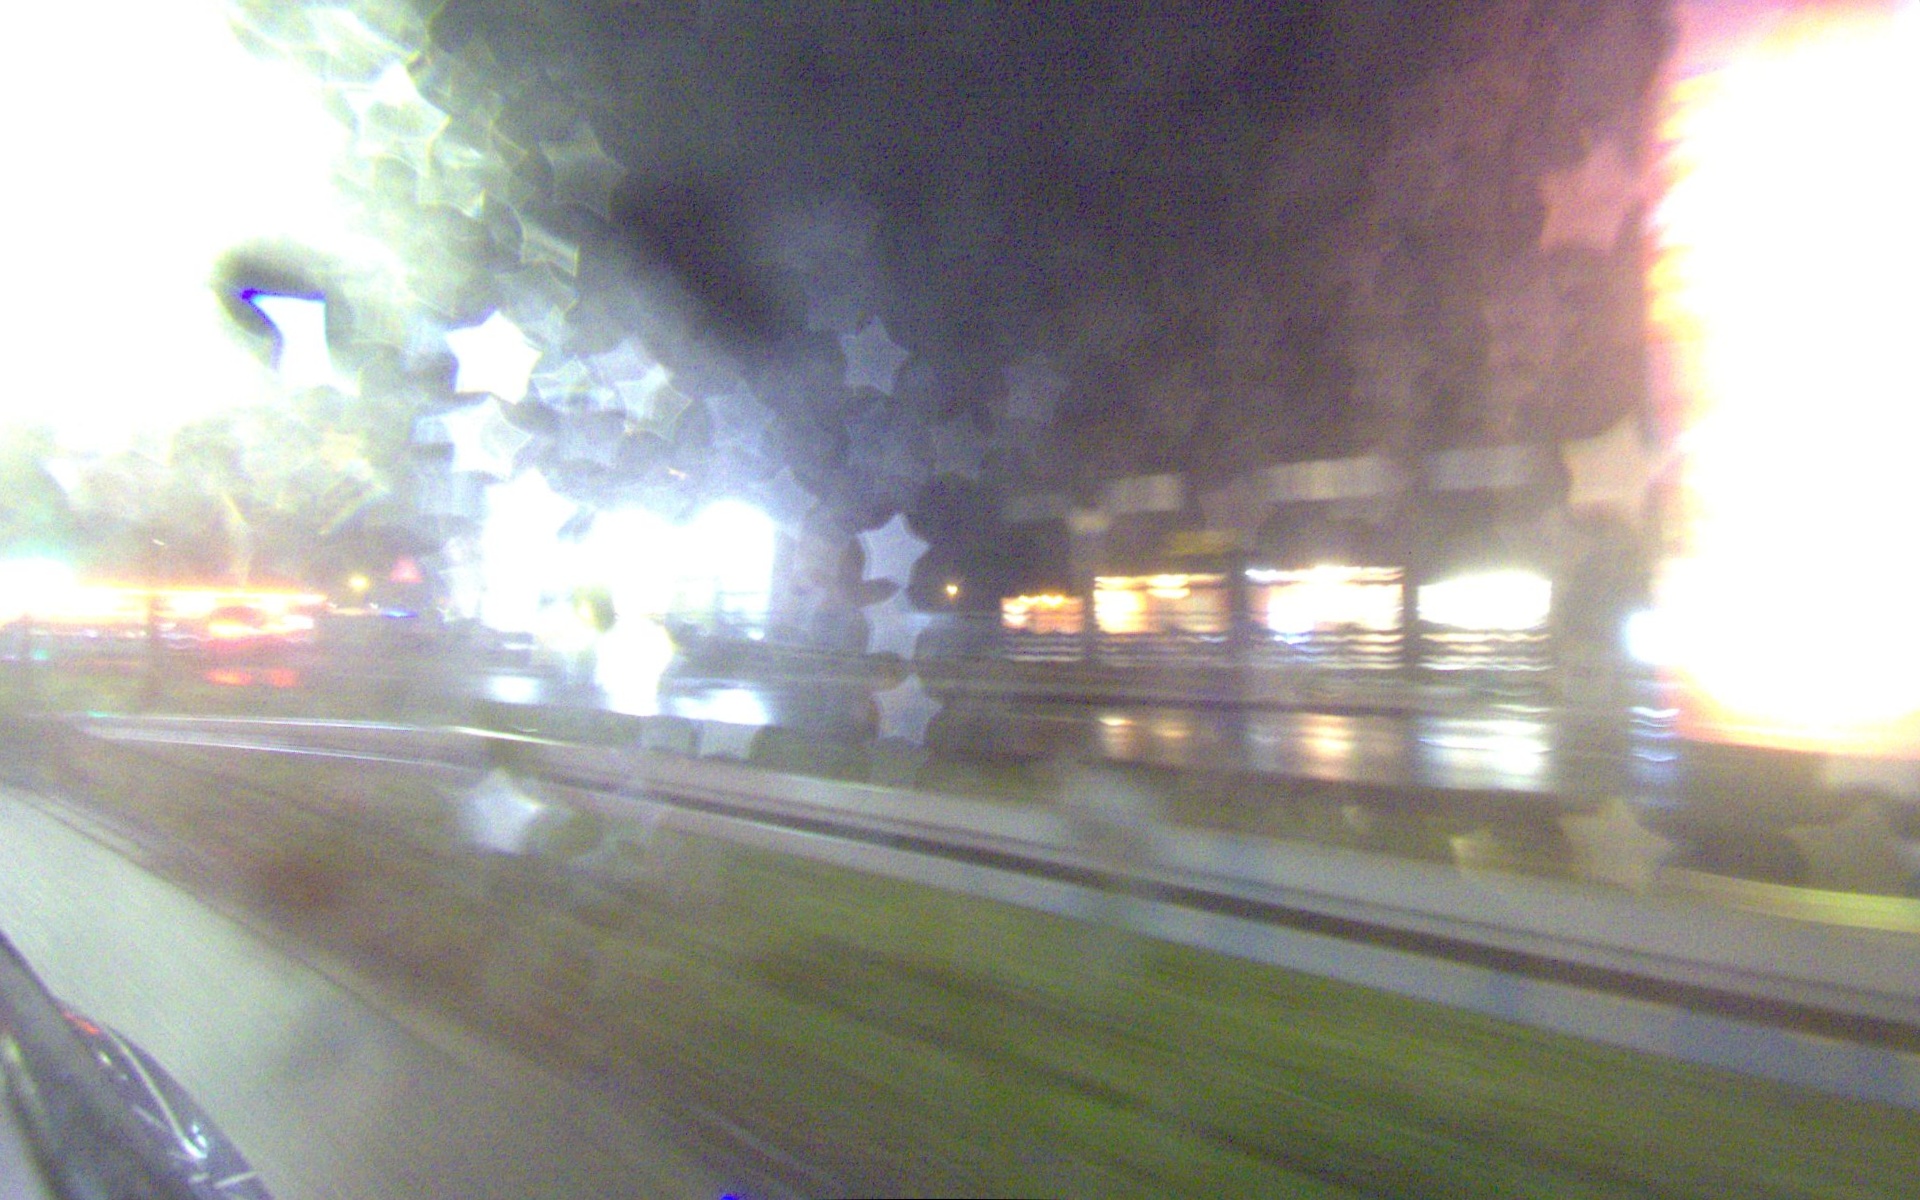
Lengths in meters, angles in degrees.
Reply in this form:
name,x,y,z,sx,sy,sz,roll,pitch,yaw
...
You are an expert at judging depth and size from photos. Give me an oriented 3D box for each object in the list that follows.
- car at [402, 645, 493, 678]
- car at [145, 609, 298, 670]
name,x,y,z,sx,sy,sz,roll,pitch,yaw
car,-28.779,3.479,56.976,1.790,1.736,4.392,0,-5,25
car,-20.811,1.088,28.521,3.983,1.606,1.980,-1,-2,29
